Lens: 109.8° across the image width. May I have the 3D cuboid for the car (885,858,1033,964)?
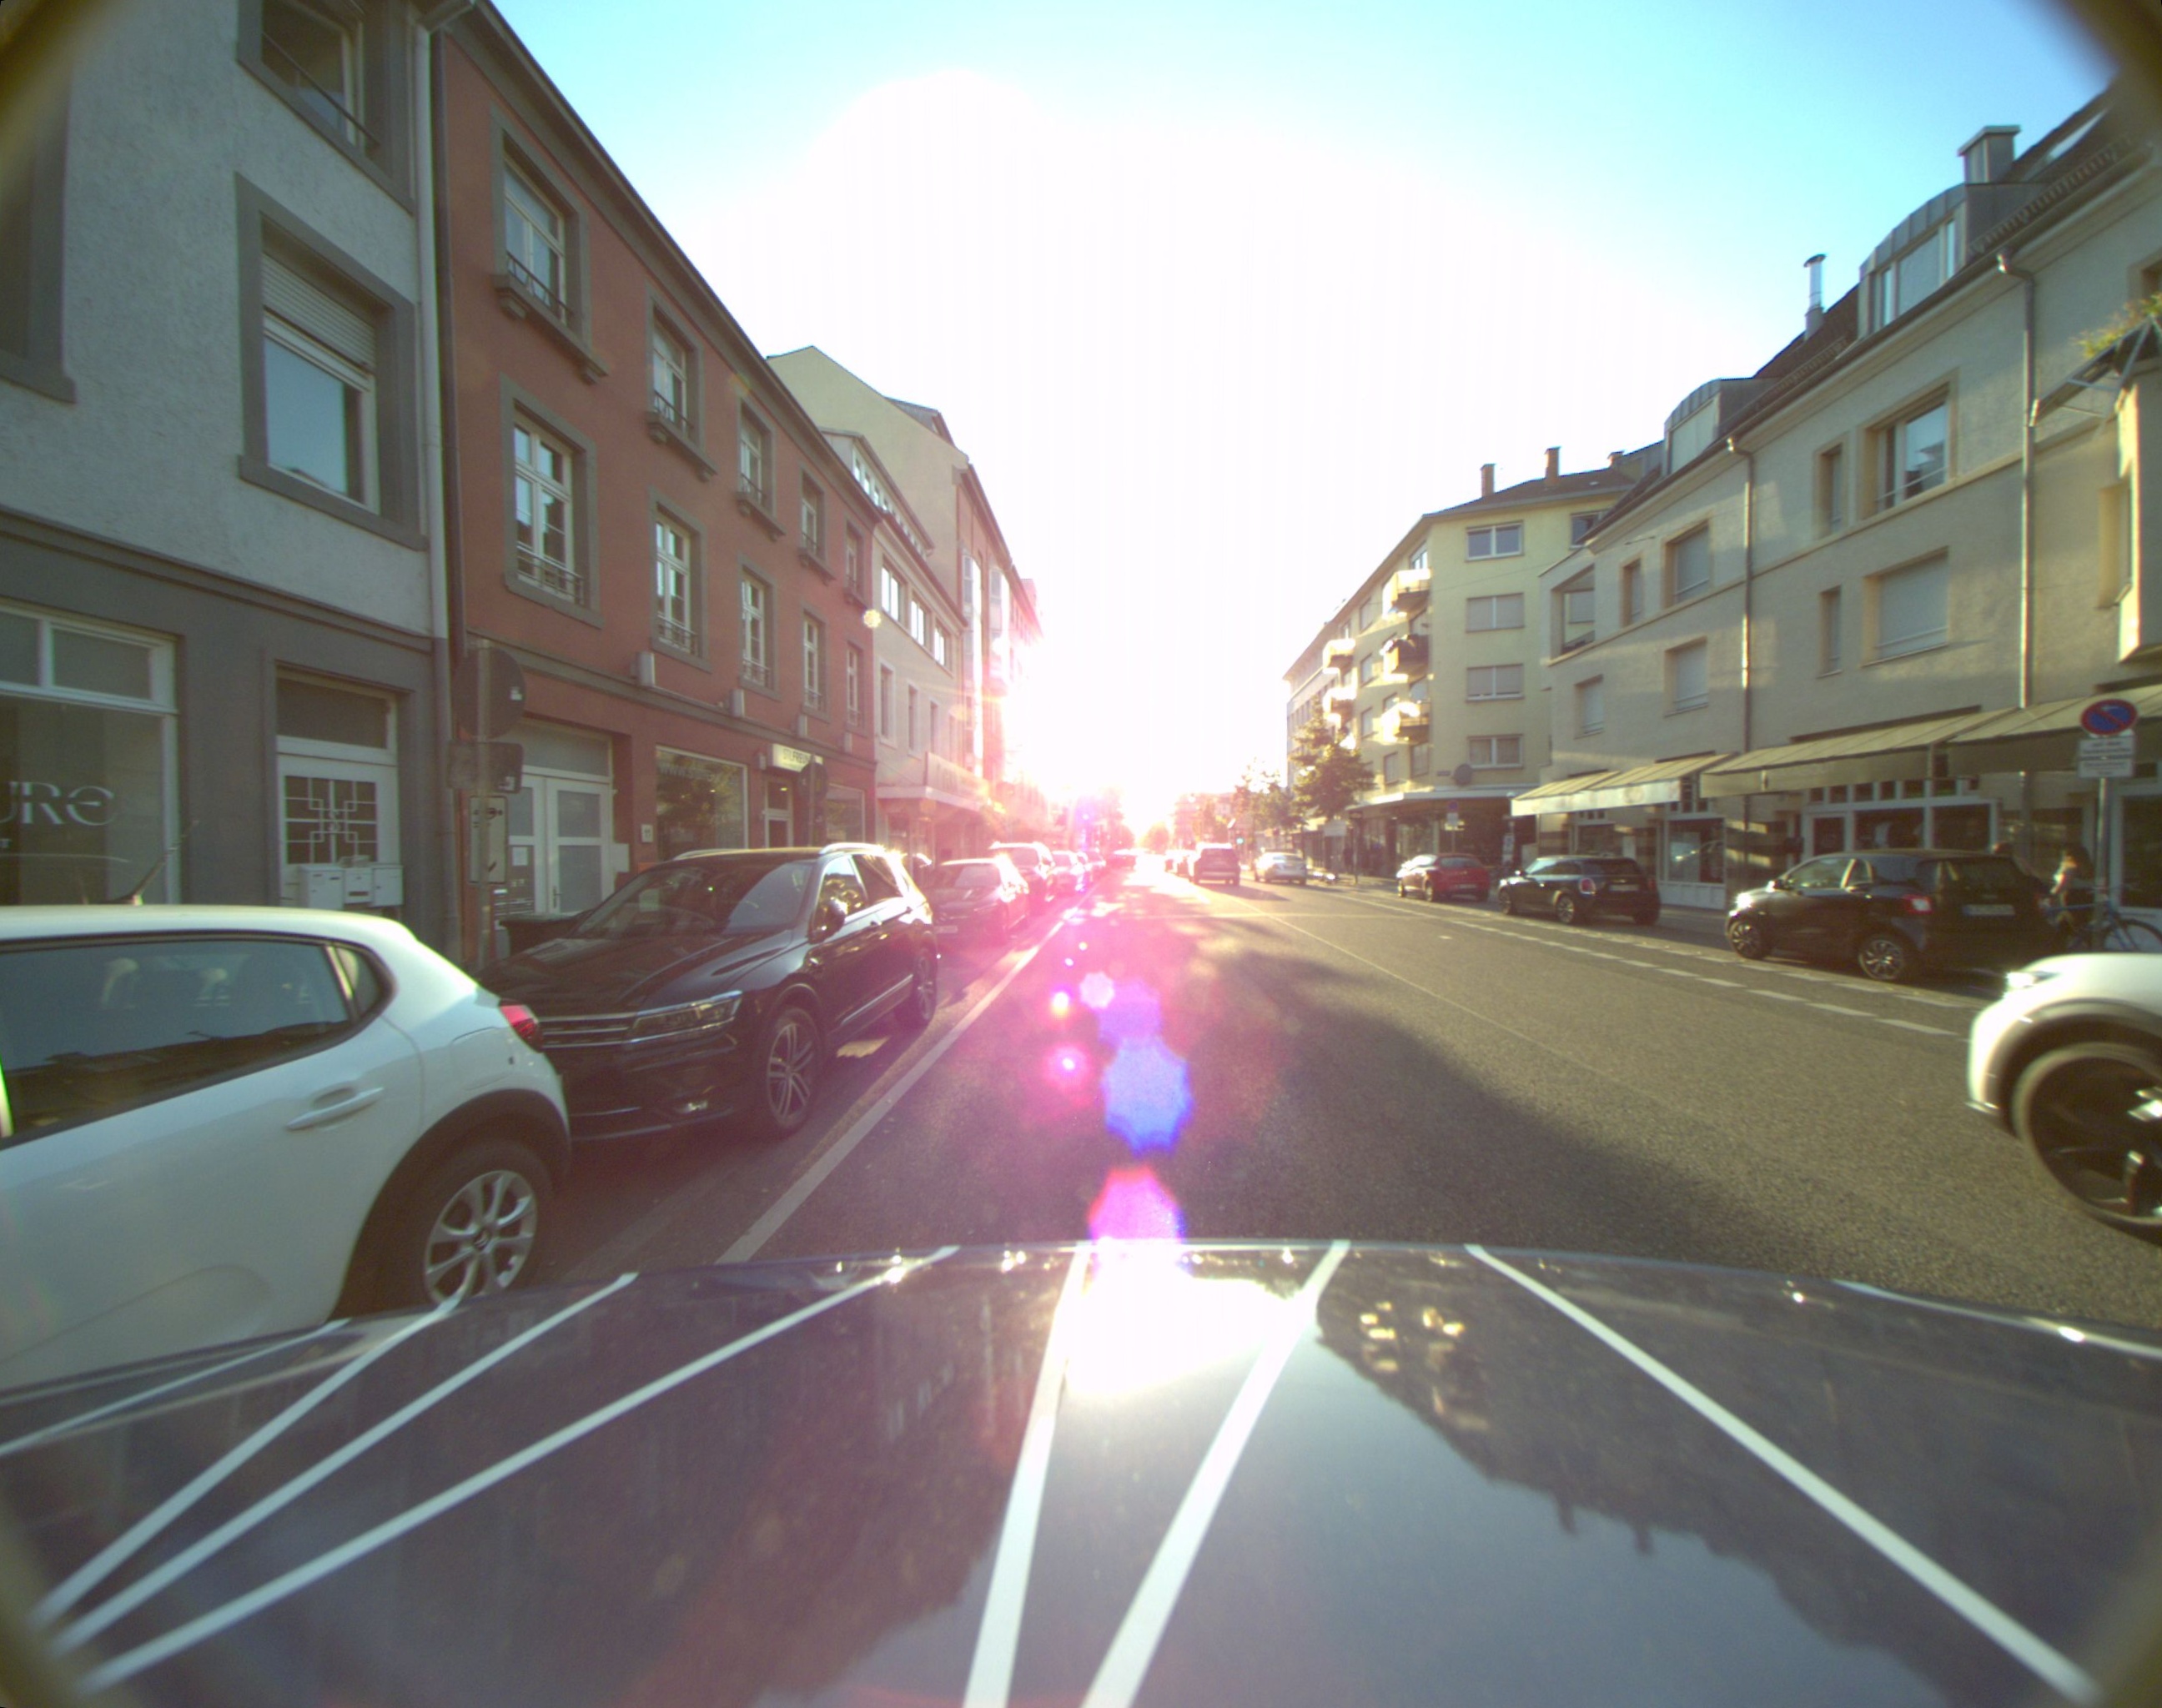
[{"bbox_3d":[-2.037,0.902,13.963,1.689,1.479,4.411,-3,1,3],"label":"car"}]

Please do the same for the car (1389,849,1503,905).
[{"bbox_3d":[11.152,0.641,23.520,1.793,1.571,3.787,0,1,2],"label":"car"}]

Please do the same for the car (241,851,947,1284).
[{"bbox_3d":[-2.394,0.881,5.321,1.798,1.688,4.461,-2,1,3],"label":"car"}]

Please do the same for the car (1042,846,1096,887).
[{"bbox_3d":[-0.441,0.487,32.790,1.998,1.645,4.480,0,1,3],"label":"car"}]

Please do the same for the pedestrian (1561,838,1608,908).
[{"bbox_3d":[12.629,0.463,19.079,0.719,1.724,0.738,-1,1,4],"label":"pedestrian"}]

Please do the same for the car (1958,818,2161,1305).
[{"bbox_3d":[4.530,0.760,1.035,1.876,1.688,4.323,1,1,6],"label":"car"}]

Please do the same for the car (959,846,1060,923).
[{"bbox_3d":[-1.749,0.684,20.448,1.998,1.767,5.319,-1,1,2],"label":"car"}]

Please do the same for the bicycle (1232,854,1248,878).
[{"bbox_3d":[8.661,0.655,41.524,0.664,1.235,2.131,2,1,7],"label":"bicycle"}]

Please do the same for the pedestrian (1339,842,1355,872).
[{"bbox_3d":[15.626,0.168,44.697,0.719,1.781,0.667,-1,1,5],"label":"pedestrian"}]

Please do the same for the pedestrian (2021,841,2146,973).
[{"bbox_3d":[13.370,0.677,10.162,0.560,1.690,0.832,-1,1,3],"label":"pedestrian"}]

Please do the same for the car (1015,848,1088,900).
[{"bbox_3d":[-0.938,0.644,27.064,1.998,1.645,4.629,-1,1,5],"label":"car"}]

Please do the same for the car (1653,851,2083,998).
[{"bbox_3d":[10.133,0.774,10.334,1.793,1.571,3.967,0,1,2],"label":"car"}]

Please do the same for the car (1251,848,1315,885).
[{"bbox_3d":[9.375,0.519,35.593,1.998,1.595,4.405,1,1,3],"label":"car"}]

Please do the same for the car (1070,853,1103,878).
[{"bbox_3d":[0.383,0.694,47.907,1.693,1.494,3.788,0,1,6],"label":"car"}]

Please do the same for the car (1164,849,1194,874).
[{"bbox_3d":[6.905,0.505,53.710,1.842,1.639,4.301,2,1,5],"label":"car"}]

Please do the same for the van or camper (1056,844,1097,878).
[{"bbox_3d":[-0.192,0.336,42.646,1.791,1.763,4.559,0,1,6],"label":"van or camper"}]

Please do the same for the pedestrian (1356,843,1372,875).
[{"bbox_3d":[15.849,0.277,42.558,0.719,1.781,0.667,-1,1,5],"label":"pedestrian"}]

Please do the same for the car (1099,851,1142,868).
[{"bbox_3d":[3.514,0.497,68.068,1.507,1.426,4.016,1,1,-38],"label":"car"}]

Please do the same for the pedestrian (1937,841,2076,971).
[{"bbox_3d":[12.638,0.672,10.418,0.631,1.690,1.040,-1,1,3],"label":"pedestrian"}]

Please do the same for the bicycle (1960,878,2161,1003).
[{"bbox_3d":[11.520,0.928,8.794,0.559,1.199,1.978,0,1,7],"label":"bicycle"}]

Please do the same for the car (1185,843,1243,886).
[{"bbox_3d":[5.528,0.374,31.988,1.842,1.639,4.301,2,1,3],"label":"car"}]

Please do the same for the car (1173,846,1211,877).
[{"bbox_3d":[6.379,0.389,44.008,1.842,1.639,4.301,2,1,4],"label":"car"}]

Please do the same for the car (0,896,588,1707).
[{"bbox_3d":[-2.919,0.998,1.005,1.665,1.564,3.936,-2,1,5],"label":"car"}]

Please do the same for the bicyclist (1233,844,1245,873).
[{"bbox_3d":[8.669,0.233,41.680,0.548,1.571,0.803,-1,1,7],"label":"bicyclist"}]

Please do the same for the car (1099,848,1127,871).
[{"bbox_3d":[2.259,0.363,52.650,1.693,1.494,3.788,0,1,6],"label":"car"}]

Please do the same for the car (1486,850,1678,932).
[{"bbox_3d":[10.753,0.710,16.669,1.793,1.571,3.787,0,1,2],"label":"car"}]
